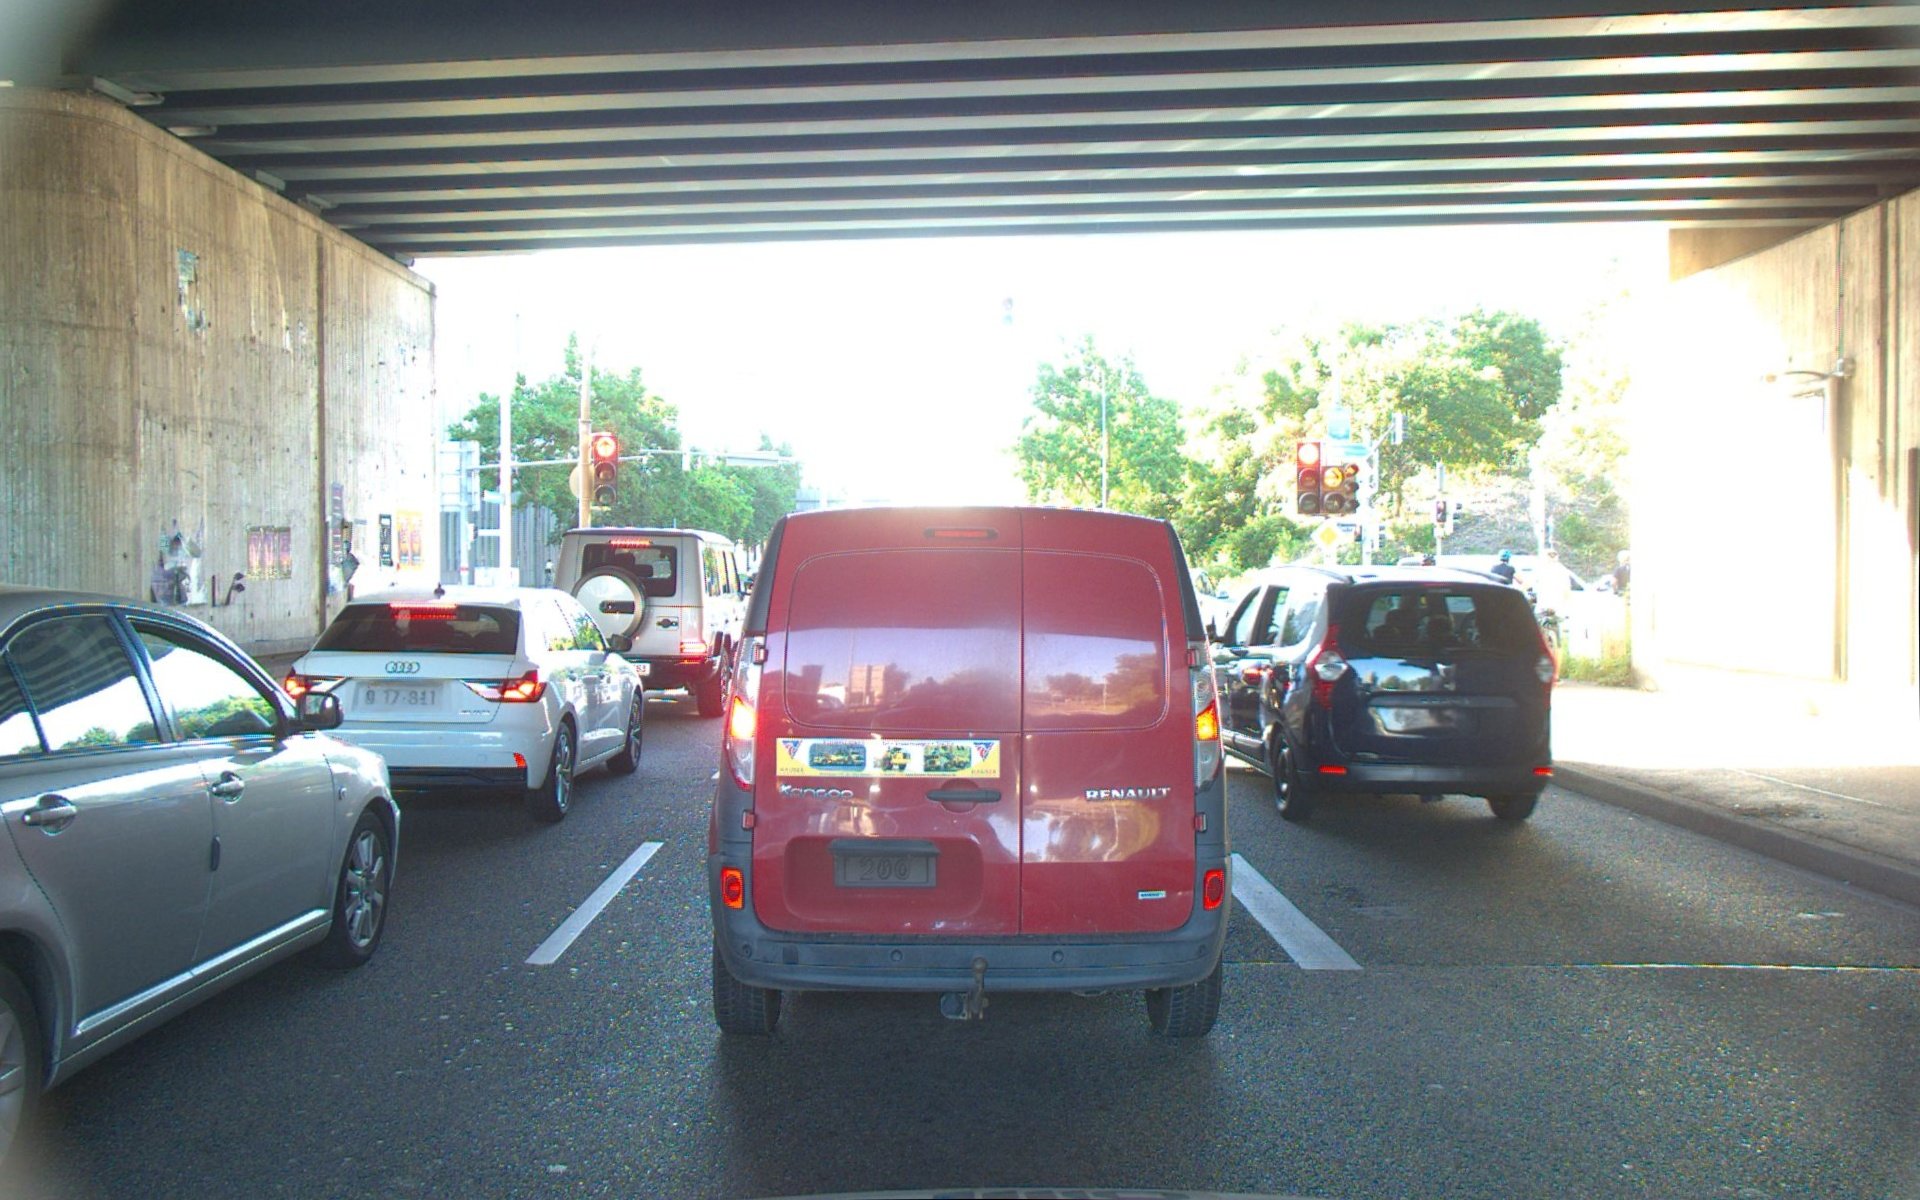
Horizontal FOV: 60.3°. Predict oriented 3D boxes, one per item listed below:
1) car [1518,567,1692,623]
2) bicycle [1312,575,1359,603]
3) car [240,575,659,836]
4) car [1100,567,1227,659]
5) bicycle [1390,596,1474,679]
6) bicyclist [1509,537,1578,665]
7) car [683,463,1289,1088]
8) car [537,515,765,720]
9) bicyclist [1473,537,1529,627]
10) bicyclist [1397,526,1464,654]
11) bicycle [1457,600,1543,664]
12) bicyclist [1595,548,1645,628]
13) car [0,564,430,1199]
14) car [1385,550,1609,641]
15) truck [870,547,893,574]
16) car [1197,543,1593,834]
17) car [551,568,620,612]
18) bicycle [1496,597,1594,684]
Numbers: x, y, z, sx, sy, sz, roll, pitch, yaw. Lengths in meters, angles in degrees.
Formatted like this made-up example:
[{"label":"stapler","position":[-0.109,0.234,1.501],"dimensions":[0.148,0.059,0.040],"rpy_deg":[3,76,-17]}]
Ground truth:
[{"label":"car","position":[18.977,-0.146,48.818],"dimensions":[4.451,1.540,1.829],"rpy_deg":[1,0,6]},{"label":"bicycle","position":[14.205,-0.410,62.583],"dimensions":[1.707,1.041,0.594],"rpy_deg":[1,0,8]},{"label":"car","position":[-3.259,0.579,11.332],"dimensions":[1.777,1.463,3.730],"rpy_deg":[1,1,-1]},{"label":"car","position":[3.818,0.206,30.462],"dimensions":[1.840,1.570,4.197],"rpy_deg":[0,0,14]},{"label":"bicycle","position":[6.205,0.478,21.832],"dimensions":[0.579,1.041,1.750],"rpy_deg":[1,0,-1]},{"label":"bicyclist","position":[7.319,0.015,20.770],"dimensions":[0.580,1.575,0.769],"rpy_deg":[1,-1,-1]},{"label":"car","position":[0.054,0.531,6.900],"dimensions":[1.768,1.826,3.999],"rpy_deg":[1,0,-1]},{"label":"car","position":[-3.356,0.181,18.839],"dimensions":[1.764,2.023,4.588],"rpy_deg":[1,0,-1]},{"label":"bicyclist","position":[9.171,-0.292,28.053],"dimensions":[0.655,1.500,0.747],"rpy_deg":[0,-1,41]},{"label":"bicyclist","position":[6.199,-0.123,21.832],"dimensions":[0.580,1.642,0.942],"rpy_deg":[1,0,-1]},{"label":"bicycle","position":[9.161,0.539,28.029],"dimensions":[0.661,1.041,2.044],"rpy_deg":[1,-1,40]},{"label":"bicyclist","position":[12.493,-0.231,31.333],"dimensions":[0.637,1.506,0.617],"rpy_deg":[0,1,-10]},{"label":"car","position":[-3.013,0.667,4.806],"dimensions":[1.698,1.506,4.317],"rpy_deg":[0,0,-2]},{"label":"car","position":[11.812,-0.093,36.395],"dimensions":[4.569,1.918,1.875],"rpy_deg":[0,0,-21]},{"label":"truck","position":[-9.419,-4.744,198.913],"dimensions":[2.360,3.079,6.657],"rpy_deg":[-2,1,0]},{"label":"car","position":[2.903,0.523,11.920],"dimensions":[1.684,1.736,3.980],"rpy_deg":[0,0,-2]},{"label":"car","position":[-16.115,-0.439,71.369],"dimensions":[1.787,1.768,4.630],"rpy_deg":[-2,1,1]},{"label":"bicycle","position":[7.323,0.493,20.769],"dimensions":[0.579,1.041,1.750],"rpy_deg":[1,0,-1]}]
